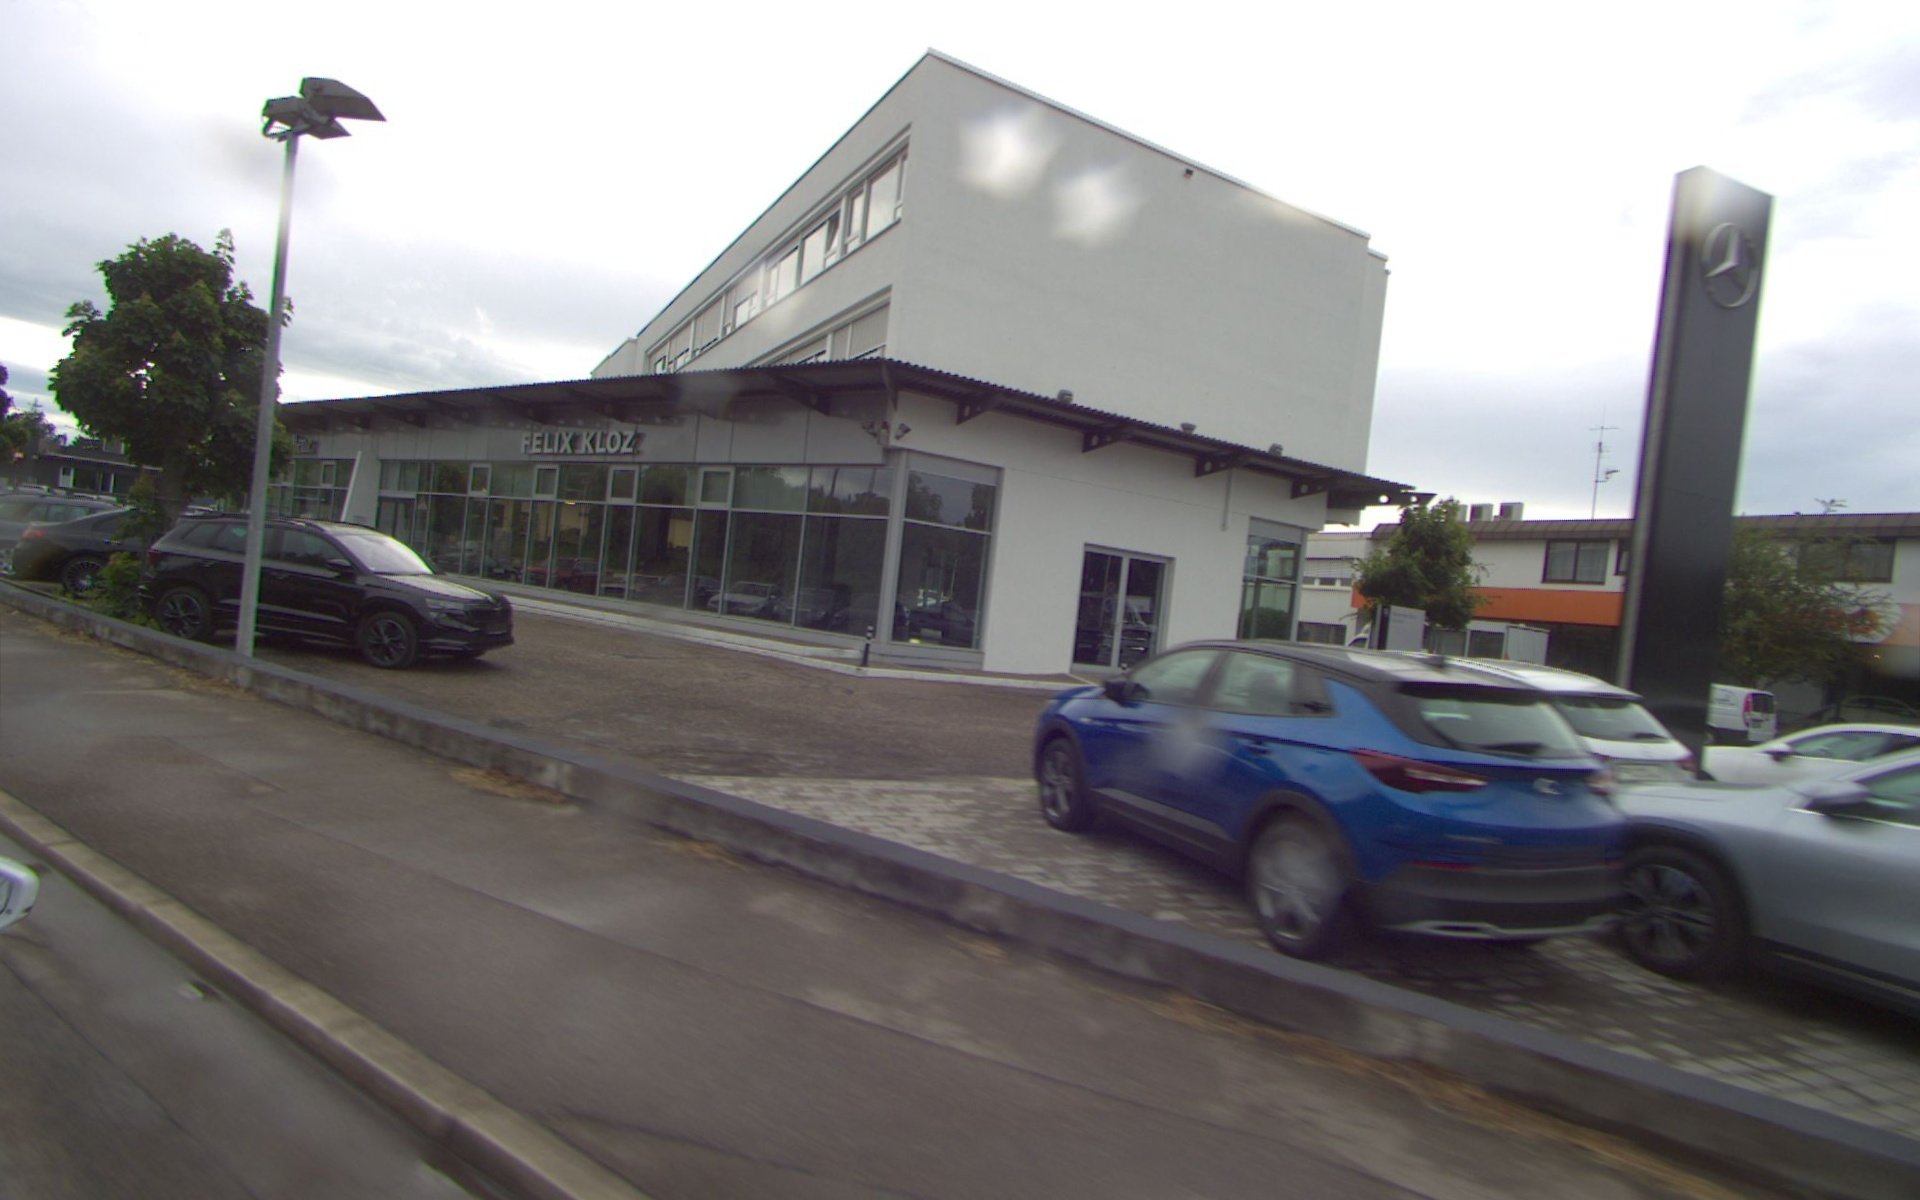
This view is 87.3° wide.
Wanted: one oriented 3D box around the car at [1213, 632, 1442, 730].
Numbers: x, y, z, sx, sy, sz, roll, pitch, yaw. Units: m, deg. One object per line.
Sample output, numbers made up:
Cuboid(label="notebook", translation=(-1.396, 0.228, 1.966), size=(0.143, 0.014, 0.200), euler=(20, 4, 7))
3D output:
Cuboid(label="car", translation=(7.687, 1.695, 21.017), size=(4.360, 1.460, 1.985), euler=(7, 1, -28))

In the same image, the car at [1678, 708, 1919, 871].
Cuboid(label="car", translation=(11.671, 2.433, 12.593), size=(1.750, 1.659, 3.970), euler=(9, -4, -23))

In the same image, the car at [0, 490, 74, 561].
Cuboid(label="car", translation=(-27.382, -2.323, 27.179), size=(4.644, 1.680, 1.989), euler=(10, -3, -26))

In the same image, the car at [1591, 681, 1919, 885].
Cuboid(label="car", translation=(9.393, 1.946, 10.763), size=(1.880, 1.564, 3.977), euler=(8, -1, -24))

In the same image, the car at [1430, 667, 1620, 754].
Cuboid(label="car", translation=(13.359, 2.614, 23.781), size=(3.954, 1.498, 1.985), euler=(7, 1, -28))

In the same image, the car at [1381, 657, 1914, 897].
Cuboid(label="car", translation=(6.614, 1.627, 10.244), size=(1.879, 1.564, 3.979), euler=(8, -1, -23))

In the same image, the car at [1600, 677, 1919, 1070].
Cuboid(label="car", translation=(5.330, 1.416, 4.484), size=(1.707, 1.620, 3.796), euler=(6, 0, -21))

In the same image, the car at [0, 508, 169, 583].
Cuboid(label="car", translation=(-21.447, -1.336, 23.582), size=(4.184, 1.316, 1.725), euler=(8, -3, -26))

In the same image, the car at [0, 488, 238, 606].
Cuboid(label="car", translation=(-15.770, -0.969, 18.114), size=(3.945, 1.572, 1.893), euler=(9, -3, -19))

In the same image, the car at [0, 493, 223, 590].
Cuboid(label="car", translation=(-17.440, -1.175, 19.954), size=(4.117, 1.485, 1.828), euler=(6, -1, -22))

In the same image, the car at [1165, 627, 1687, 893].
Cuboid(label="car", translation=(3.973, 1.273, 9.409), size=(1.711, 1.620, 4.152), euler=(6, 0, -27))

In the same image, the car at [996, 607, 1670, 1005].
Cuboid(label="car", translation=(2.005, 1.039, 6.944), size=(1.818, 1.653, 4.345), euler=(5, 0, -21))

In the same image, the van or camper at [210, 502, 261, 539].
Cuboid(label="van or camper", translation=(-50.028, -5.442, 69.546), size=(1.979, 1.959, 5.394), euler=(9, -4, -29))

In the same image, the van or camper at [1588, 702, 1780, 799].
Cuboid(label="van or camper", translation=(20.753, 4.286, 29.000), size=(1.790, 2.064, 3.969), euler=(8, -2, -31))

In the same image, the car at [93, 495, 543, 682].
Cuboid(label="car", translation=(-7.961, -0.142, 12.728), size=(4.464, 1.628, 1.842), euler=(8, 1, 4))

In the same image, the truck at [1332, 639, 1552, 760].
Cuboid(label="truck", translation=(17.079, 3.429, 36.144), size=(2.544, 3.451, 6.606), euler=(9, -3, -28))

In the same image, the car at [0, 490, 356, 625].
Cuboid(label="car", translation=(-12.663, -0.642, 16.488), size=(4.386, 1.497, 1.924), euler=(8, -1, -24))
